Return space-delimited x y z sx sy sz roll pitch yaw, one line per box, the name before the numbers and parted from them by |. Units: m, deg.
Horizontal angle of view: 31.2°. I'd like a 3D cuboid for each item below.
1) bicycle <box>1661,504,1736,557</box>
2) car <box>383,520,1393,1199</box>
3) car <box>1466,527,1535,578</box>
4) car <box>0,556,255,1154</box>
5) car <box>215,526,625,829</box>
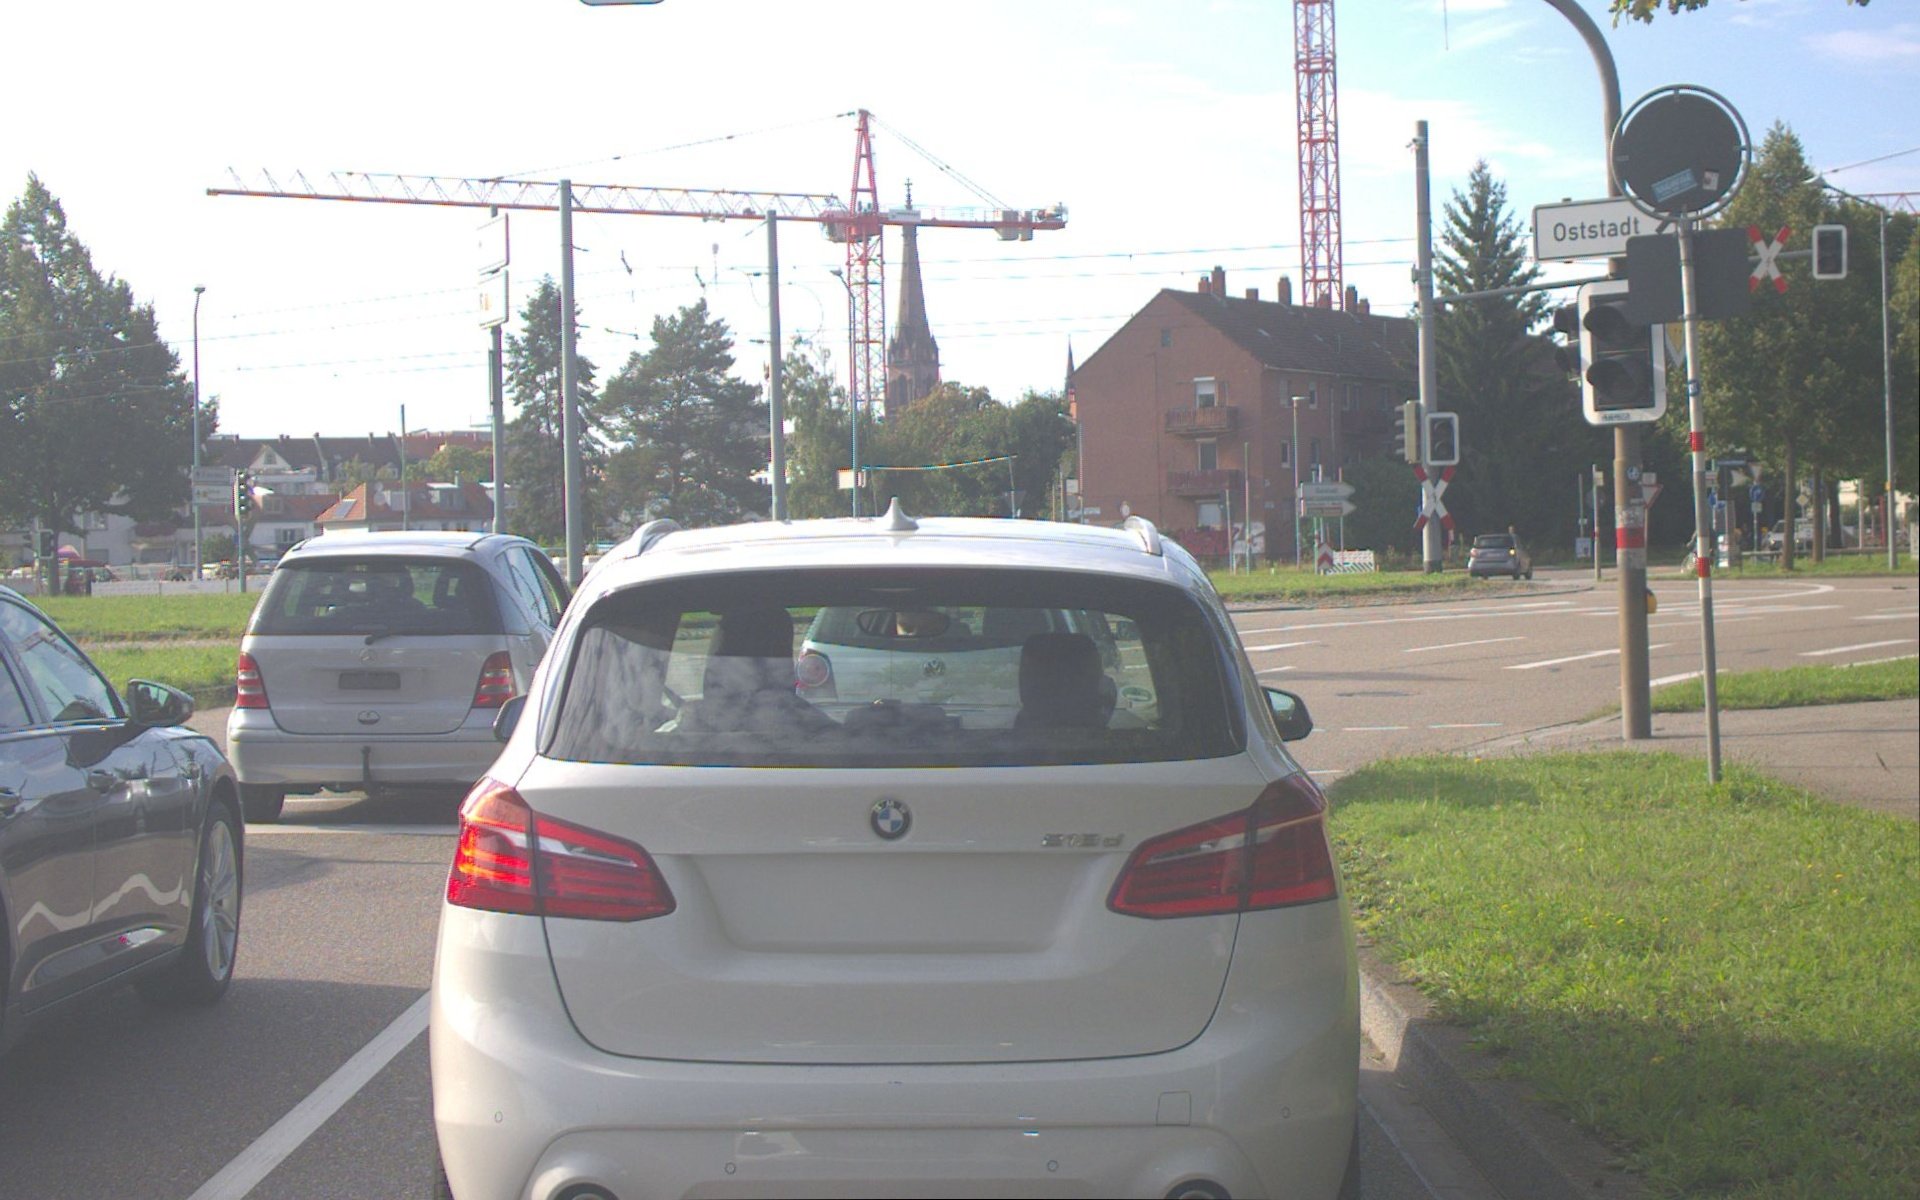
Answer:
bicycle | 22.356 -2.093 104.100 0.893 1.525 2.290 1 0 -30
car | -0.151 0.605 7.923 1.729 1.553 4.058 0 1 -1
car | 18.041 -1.599 114.681 1.571 1.568 3.195 -1 2 21
car | -3.328 0.620 9.464 1.890 1.478 4.613 0 1 -1
car | -2.973 0.366 19.696 1.729 1.553 4.058 0 1 0
